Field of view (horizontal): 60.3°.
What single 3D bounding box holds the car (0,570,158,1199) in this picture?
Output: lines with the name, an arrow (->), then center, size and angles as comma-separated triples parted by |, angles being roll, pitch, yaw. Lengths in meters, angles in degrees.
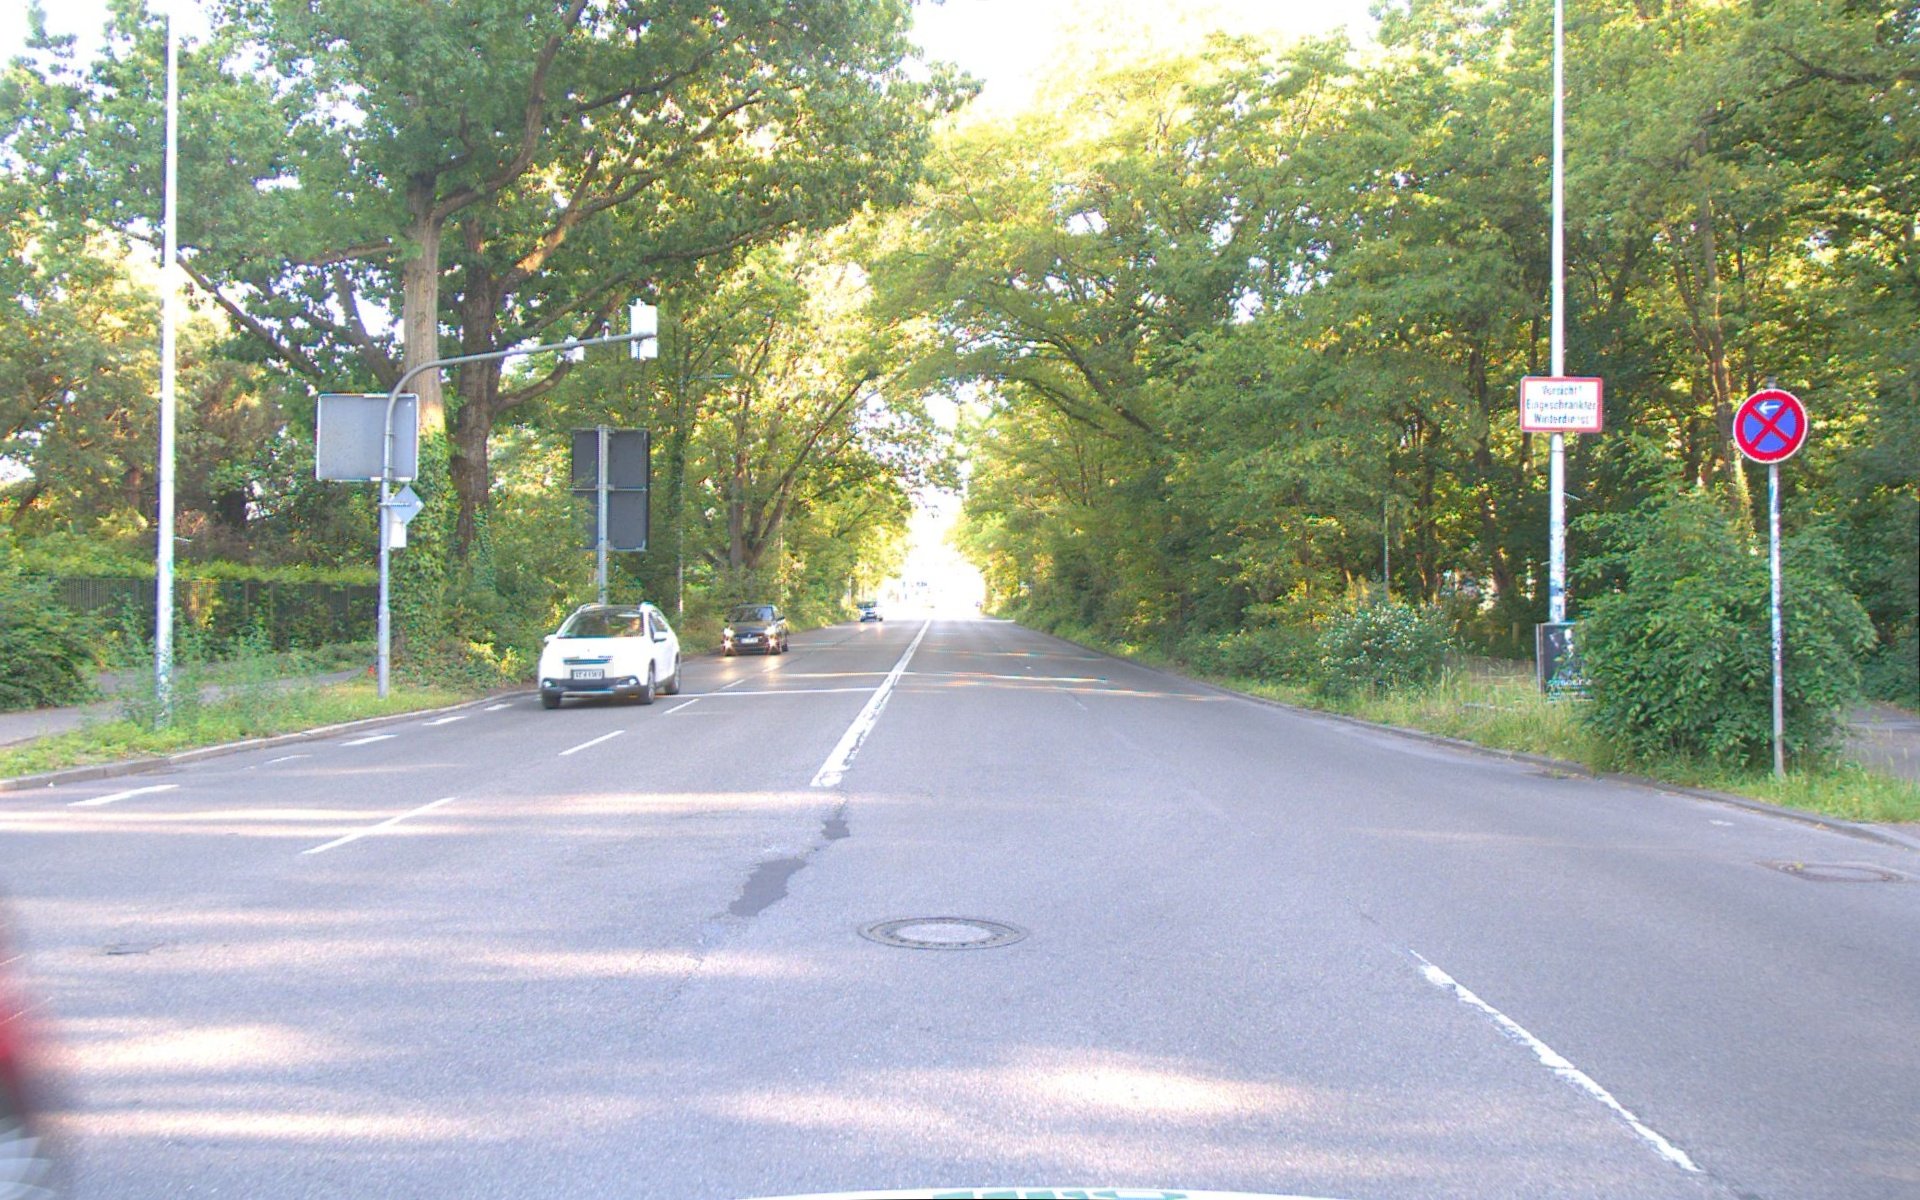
car -> -2.555, 0.716, 1.675 | 1.715, 1.481, 3.639 | -2, 0, -1

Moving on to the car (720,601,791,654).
car -> -6.126, 0.798, 49.851 | 1.673, 1.478, 3.639 | -2, 0, -1

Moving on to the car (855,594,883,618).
car -> -6.623, 0.426, 120.937 | 1.770, 1.607, 4.318 | -2, 0, -1

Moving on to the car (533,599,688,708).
car -> -5.503, 0.789, 26.471 | 1.643, 1.550, 3.901 | -2, 0, -1
